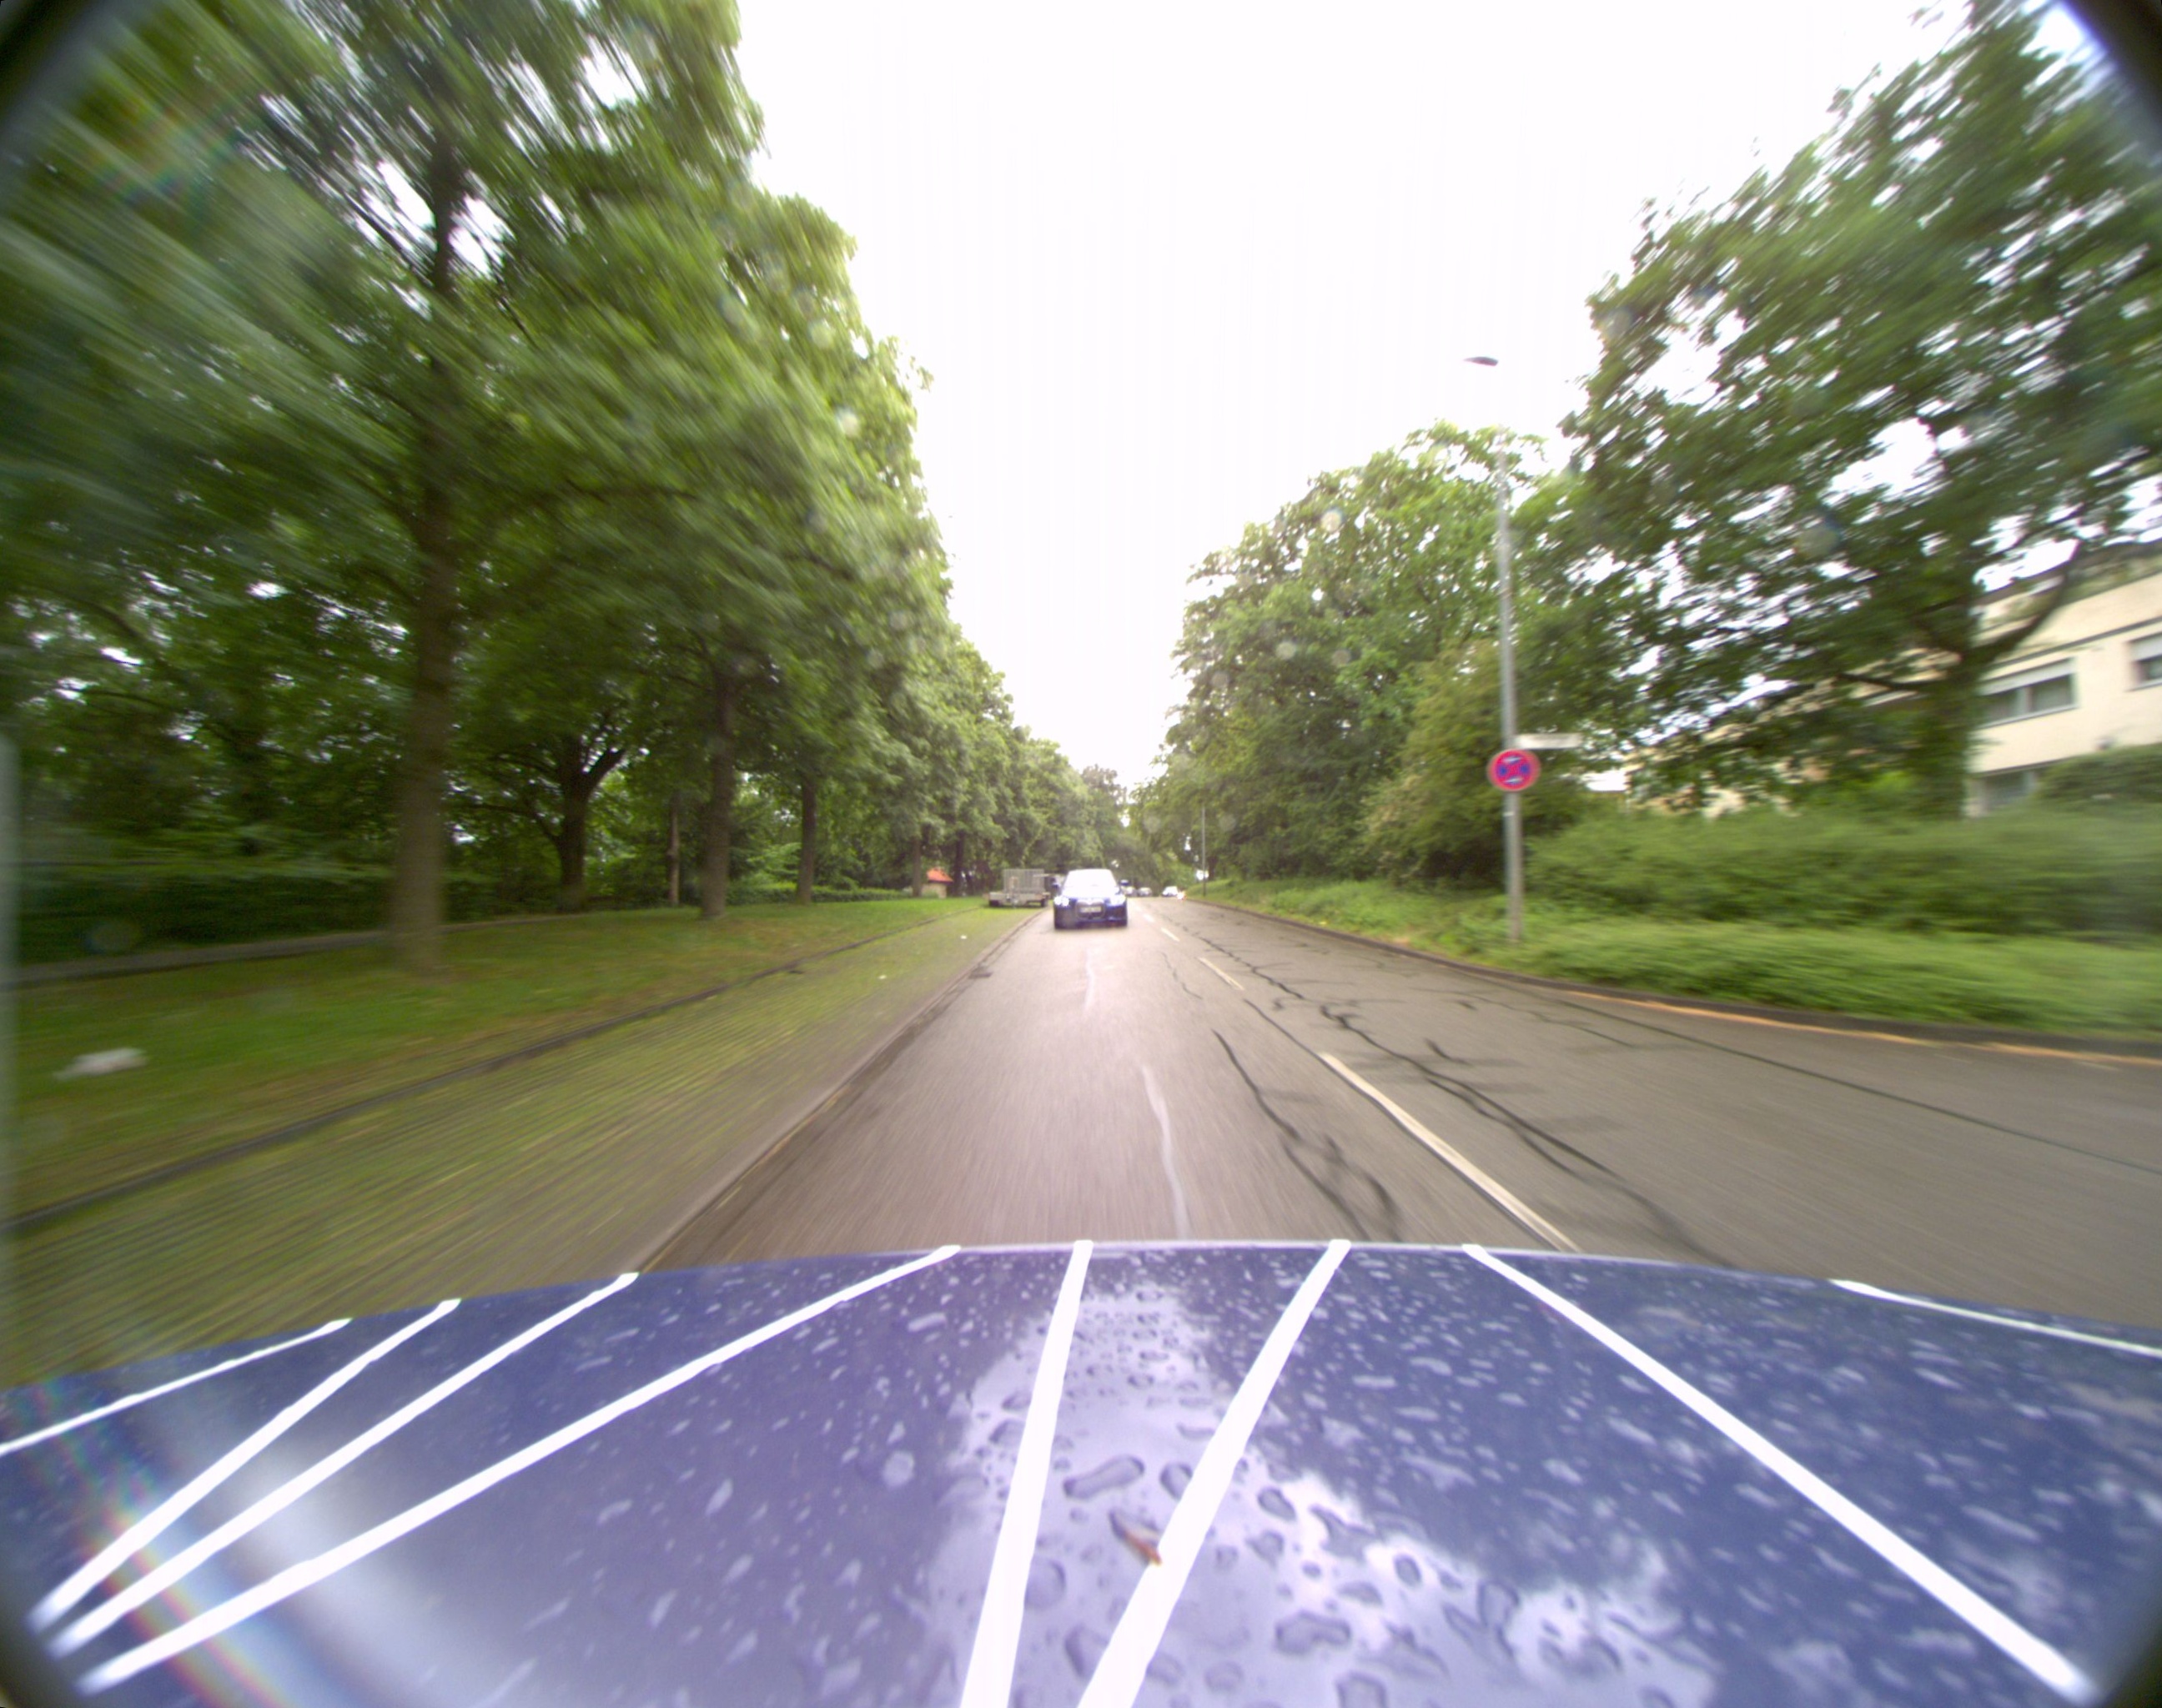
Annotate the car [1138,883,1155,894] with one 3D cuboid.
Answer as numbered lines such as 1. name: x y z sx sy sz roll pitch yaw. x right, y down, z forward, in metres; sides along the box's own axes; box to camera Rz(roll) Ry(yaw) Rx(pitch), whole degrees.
1. car: 9.095 4.813 104.894 1.703 1.452 4.224 0 -3 14

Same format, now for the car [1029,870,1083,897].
1. car: -1.690 1.924 49.525 1.615 1.671 3.997 1 -2 -35

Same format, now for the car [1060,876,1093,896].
1. car: -0.321 2.578 60.833 1.808 1.529 4.273 0 -3 11

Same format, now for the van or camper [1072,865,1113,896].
1. van or camper: 1.110 2.486 68.944 2.019 2.566 8.449 -3 -4 12

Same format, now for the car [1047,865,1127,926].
1. car: 0.070 1.161 21.404 1.840 1.501 4.000 -1 -3 -5

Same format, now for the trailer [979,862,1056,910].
1. trailer: -2.499 1.257 31.564 2.455 1.802 5.894 0 -1 2
